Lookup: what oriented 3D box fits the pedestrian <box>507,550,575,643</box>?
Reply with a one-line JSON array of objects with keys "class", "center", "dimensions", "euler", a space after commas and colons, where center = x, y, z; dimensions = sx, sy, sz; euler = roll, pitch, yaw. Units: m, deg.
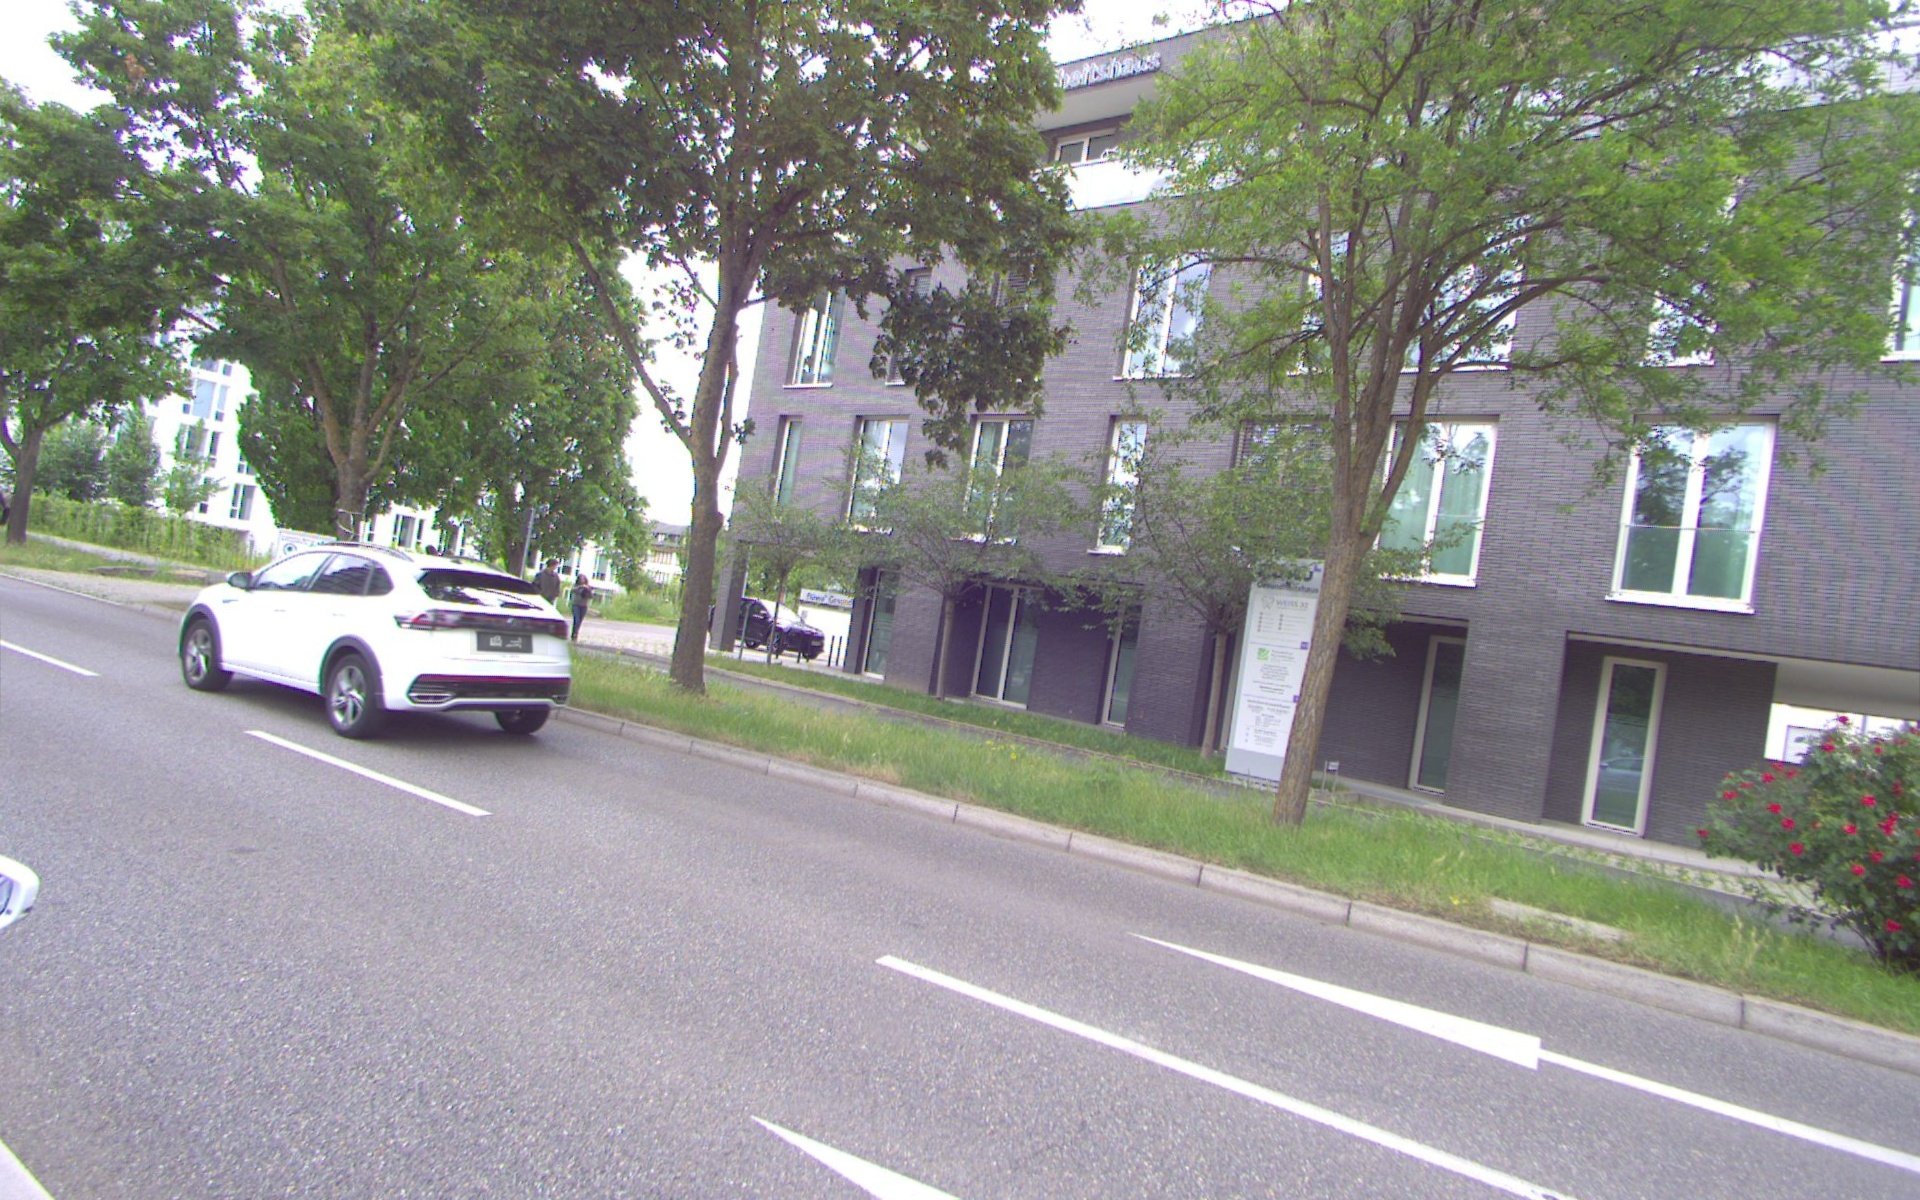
[{"class": "pedestrian", "center": [-9.311, -0.080, 22.340], "dimensions": [0.956, 1.889, 0.968], "euler": [9, -2, -39]}]

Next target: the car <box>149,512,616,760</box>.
[{"class": "car", "center": [-5.261, 0.255, 9.059], "dimensions": [4.020, 1.574, 1.720], "euler": [7, -1, 30]}]

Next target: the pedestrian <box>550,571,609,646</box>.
[{"class": "pedestrian", "center": [-8.810, 0.193, 23.277], "dimensions": [0.830, 1.575, 0.865], "euler": [9, -2, -41]}]

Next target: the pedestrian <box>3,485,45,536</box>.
[{"class": "pedestrian", "center": [-34.446, -3.286, 37.019], "dimensions": [0.868, 1.705, 0.768], "euler": [6, -1, 31]}]

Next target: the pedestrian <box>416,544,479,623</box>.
[{"class": "pedestrian", "center": [-11.929, -0.388, 23.404], "dimensions": [0.937, 1.679, 0.779], "euler": [7, -1, 38]}]

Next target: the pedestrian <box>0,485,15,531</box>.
[{"class": "pedestrian", "center": [-34.838, -3.365, 36.330], "dimensions": [0.868, 1.614, 0.701], "euler": [6, -1, 31]}]

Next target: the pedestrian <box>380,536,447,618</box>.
[{"class": "pedestrian", "center": [-12.389, -0.523, 22.816], "dimensions": [1.043, 1.679, 0.796], "euler": [7, -1, 38]}]

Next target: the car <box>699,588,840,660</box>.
[{"class": "car", "center": [-6.018, 0.734, 31.650], "dimensions": [4.080, 1.665, 1.759], "euler": [7, -2, 32]}]
